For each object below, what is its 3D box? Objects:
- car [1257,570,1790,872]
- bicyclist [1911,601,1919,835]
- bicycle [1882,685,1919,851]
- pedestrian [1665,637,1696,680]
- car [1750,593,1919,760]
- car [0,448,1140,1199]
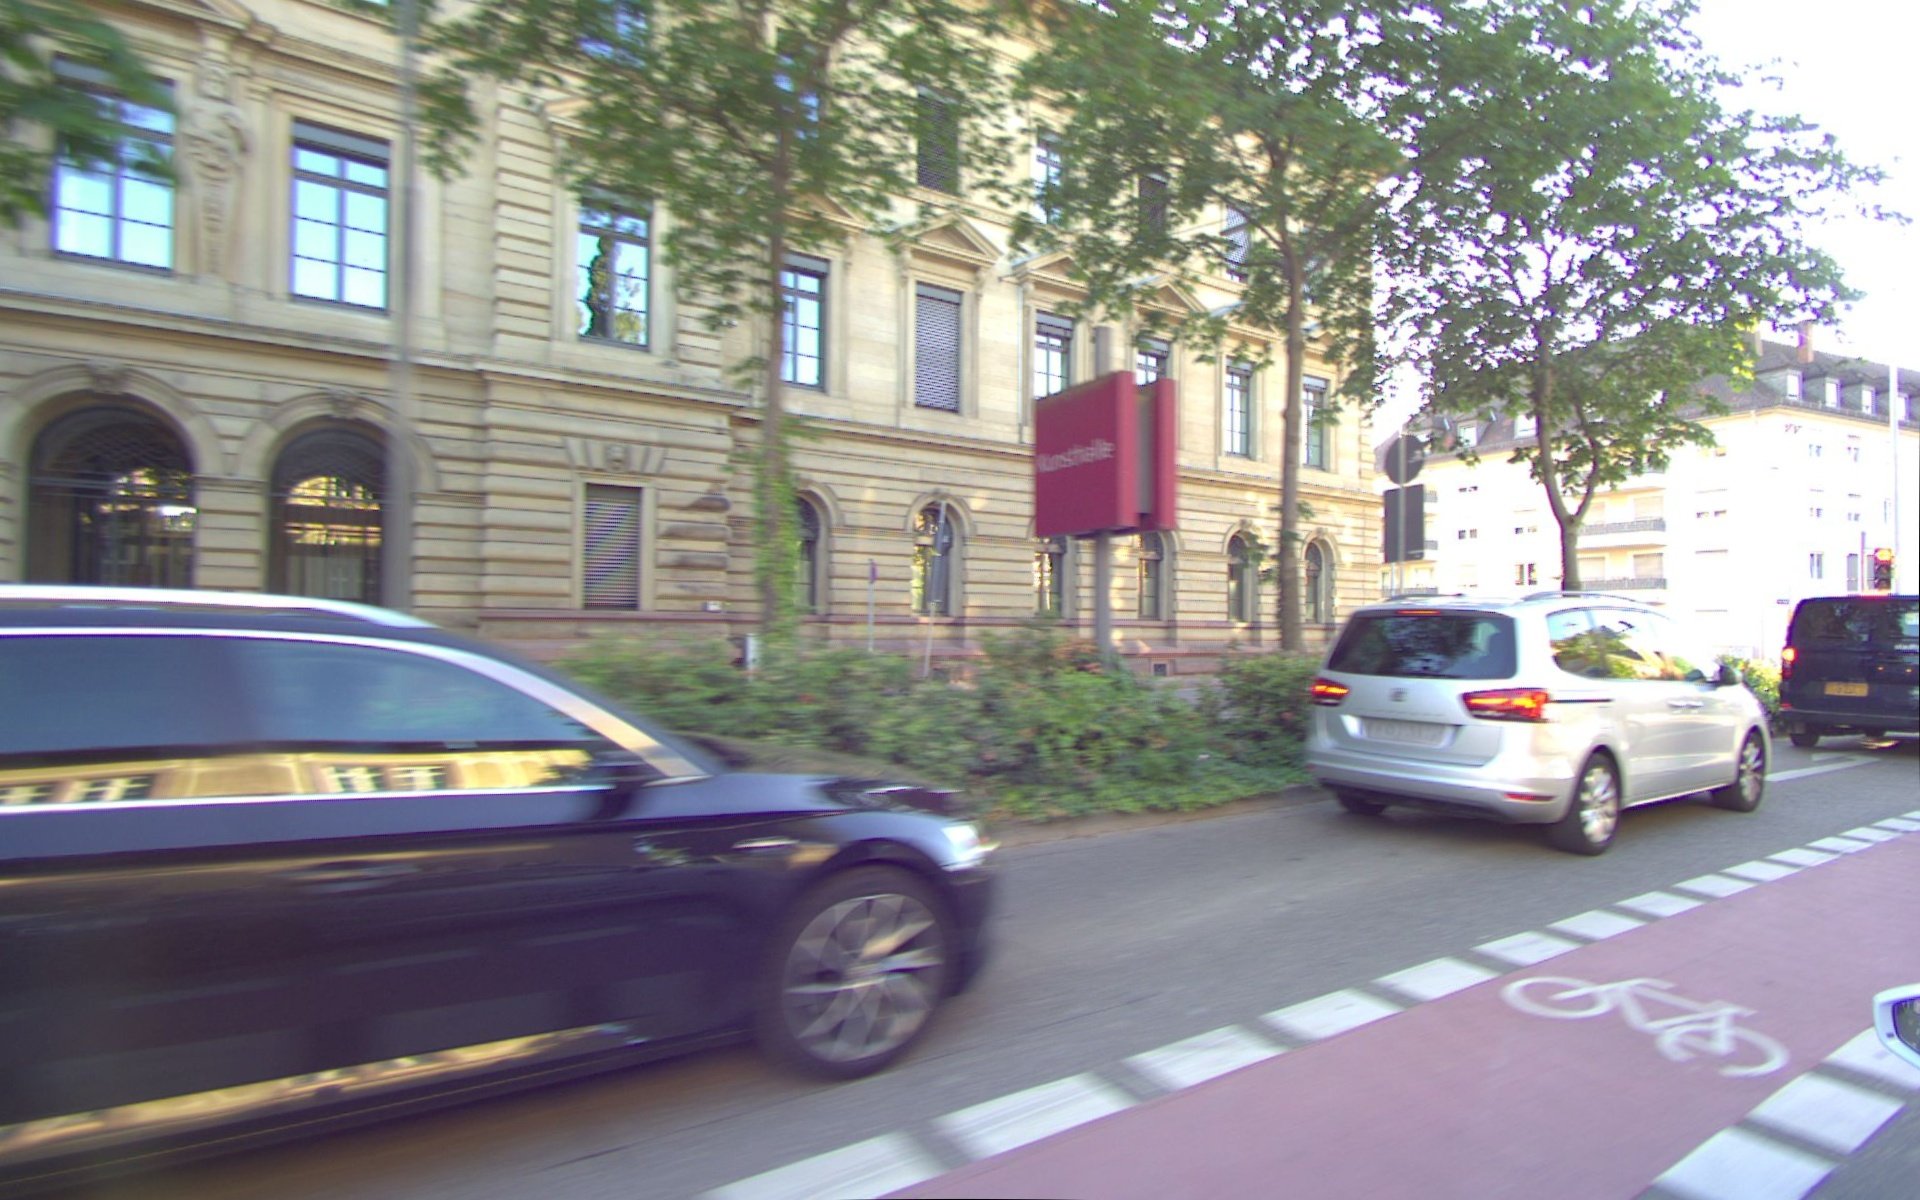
[{"bbox_3d":[4.690,0.789,8.103,4.701,1.772,1.978,2,-2,-36],"label":"car"},{"bbox_3d":[7.410,0.854,7.202,0.877,1.674,0.669,1,-1,-32],"label":"bicyclist"},{"bbox_3d":[7.271,1.164,7.111,1.733,1.087,0.665,1,-1,-32],"label":"bicycle"},{"bbox_3d":[27.842,2.259,38.802,0.807,1.605,0.629,1,1,-25],"label":"pedestrian"},{"bbox_3d":[12.934,0.990,13.621,4.981,1.940,2.056,2,-3,-34],"label":"car"},{"bbox_3d":[-1.810,0.595,3.102,4.690,1.679,1.980,2,-2,-35],"label":"car"}]
